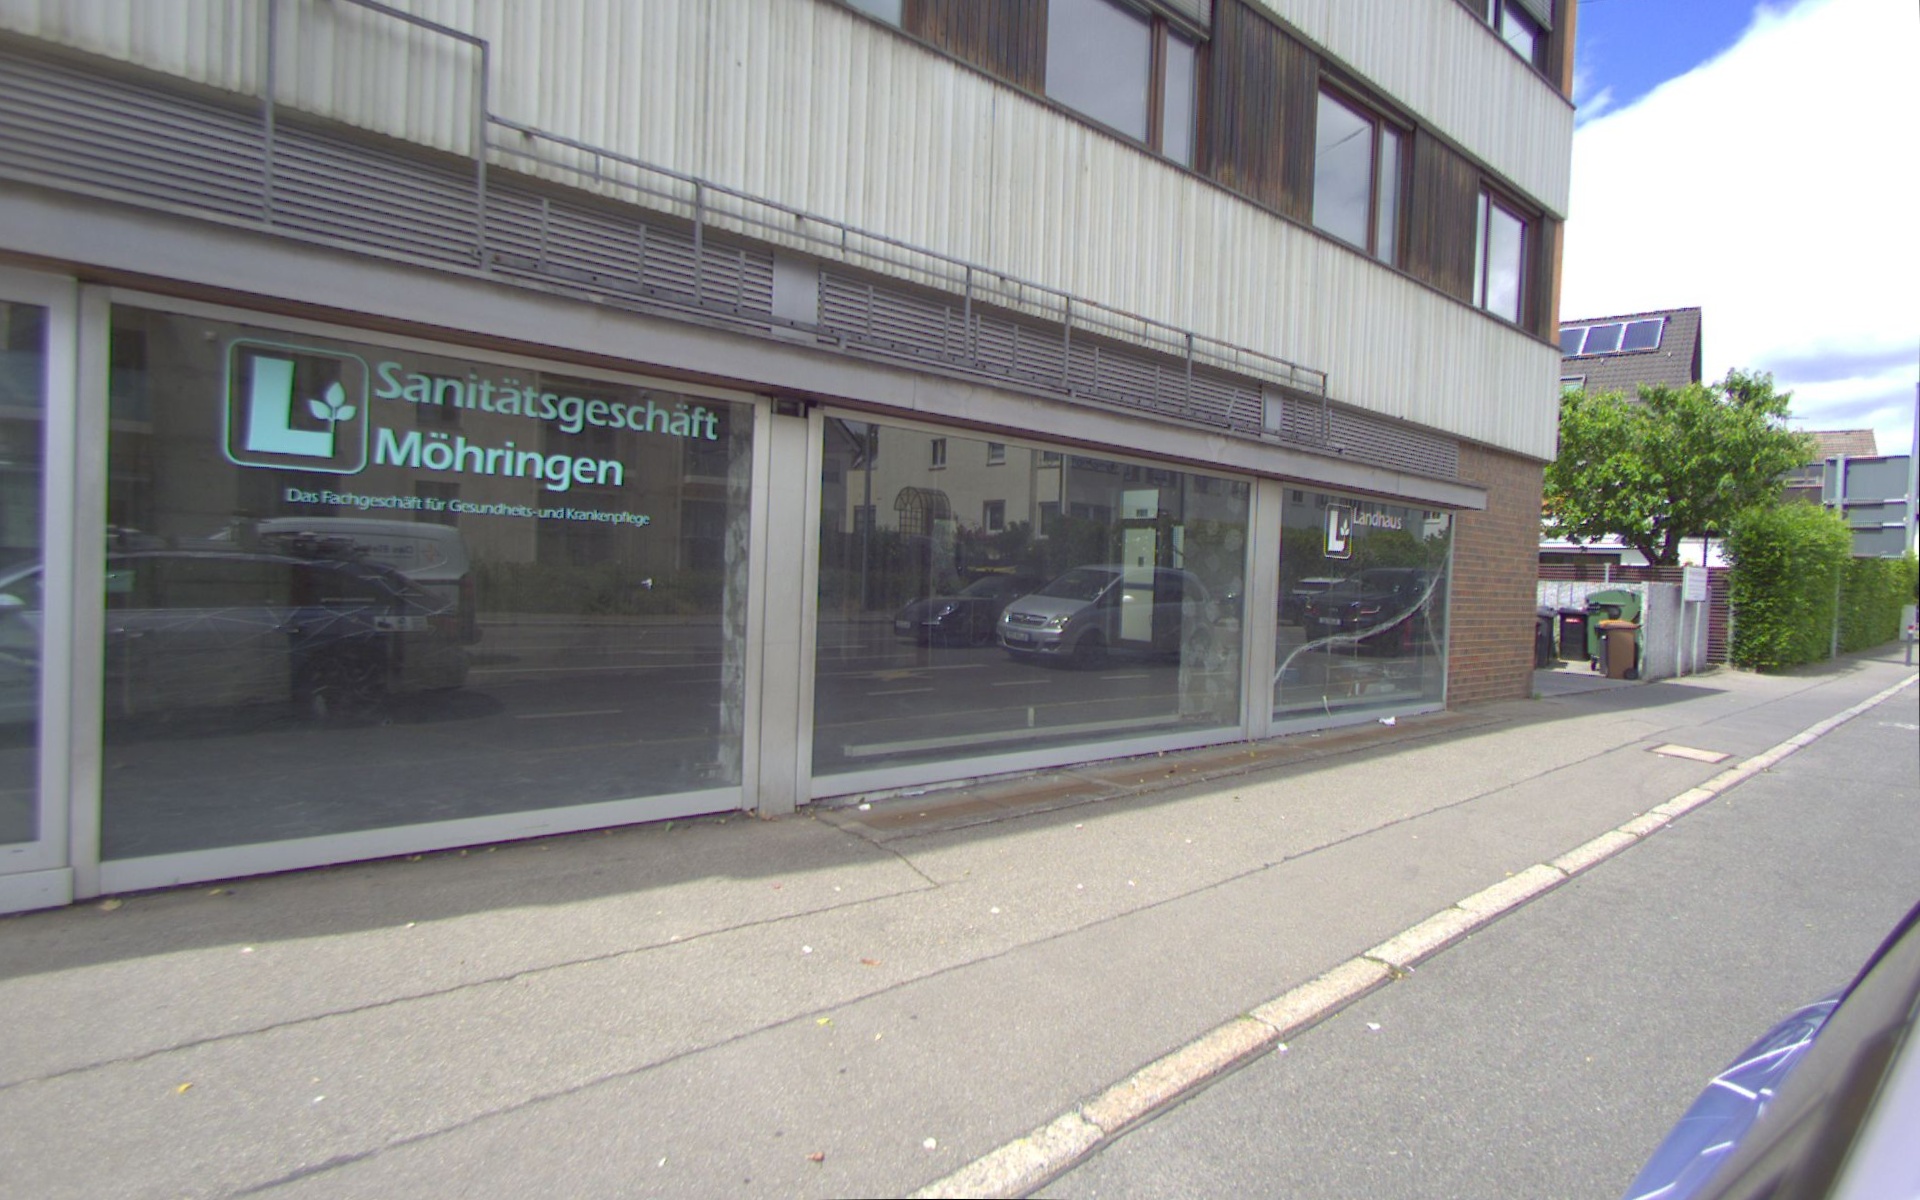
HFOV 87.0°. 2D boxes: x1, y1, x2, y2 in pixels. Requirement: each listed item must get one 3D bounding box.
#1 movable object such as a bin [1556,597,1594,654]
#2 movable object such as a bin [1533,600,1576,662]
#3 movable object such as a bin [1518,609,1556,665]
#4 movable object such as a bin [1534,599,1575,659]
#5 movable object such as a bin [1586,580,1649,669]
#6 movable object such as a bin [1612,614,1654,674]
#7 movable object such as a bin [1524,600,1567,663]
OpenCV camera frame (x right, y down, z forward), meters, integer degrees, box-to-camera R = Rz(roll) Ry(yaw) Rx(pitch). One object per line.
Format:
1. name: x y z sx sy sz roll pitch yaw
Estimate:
1. movable object such as a bin: 12.169 0.495 20.039 0.591 1.088 0.484 2 1 30
2. movable object such as a bin: 10.891 0.553 18.549 0.589 1.088 0.485 2 1 25
3. movable object such as a bin: 10.104 0.639 17.723 0.513 0.933 0.475 2 1 25
4. movable object such as a bin: 11.174 0.529 19.031 0.589 1.088 0.485 2 1 25
5. movable object such as a bin: 11.348 0.408 17.474 0.807 1.472 0.471 2 1 45
6. movable object such as a bin: 10.975 0.705 16.512 0.514 0.933 0.474 2 1 31
7. movable object such as a bin: 10.464 0.555 18.113 0.589 1.088 0.485 2 1 25
